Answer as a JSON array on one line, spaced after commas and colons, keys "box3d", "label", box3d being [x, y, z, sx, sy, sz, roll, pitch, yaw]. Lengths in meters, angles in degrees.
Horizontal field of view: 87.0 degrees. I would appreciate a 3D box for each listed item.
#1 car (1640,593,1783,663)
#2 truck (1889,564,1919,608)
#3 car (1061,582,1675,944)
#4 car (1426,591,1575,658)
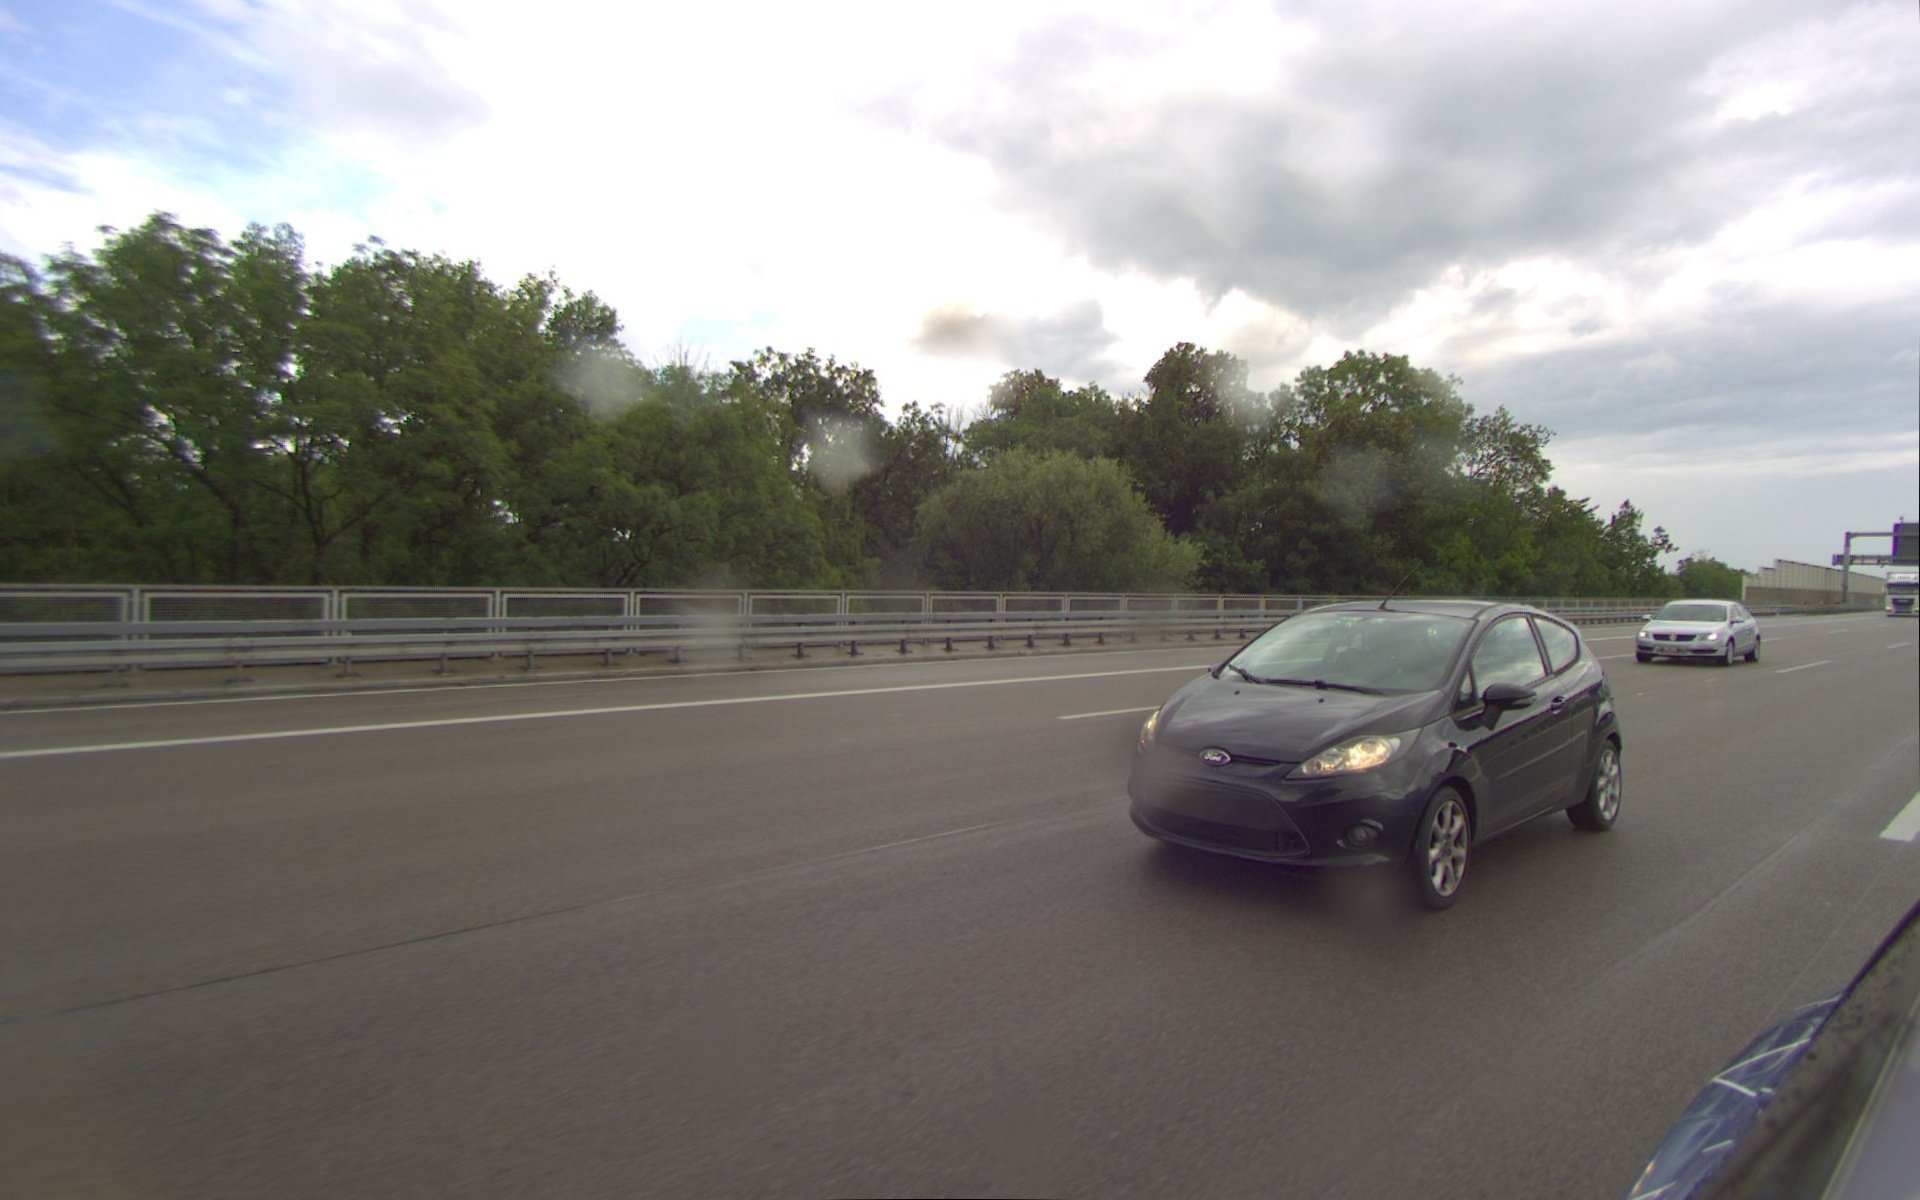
[{"box3d": [17.632, 0.596, 23.682, 4.173, 1.465, 1.896, 0, 1, -42], "label": "car"}, {"box3d": [89.903, -1.266, 95.045, 12.111, 3.956, 3.249, 0, 0, -44], "label": "truck"}, {"box3d": [2.714, 0.647, 6.143, 4.328, 1.458, 1.667, 0, 1, -41], "label": "car"}, {"box3d": [13.187, 0.540, 24.588, 4.509, 1.465, 1.779, 0, 1, -42], "label": "car"}]
